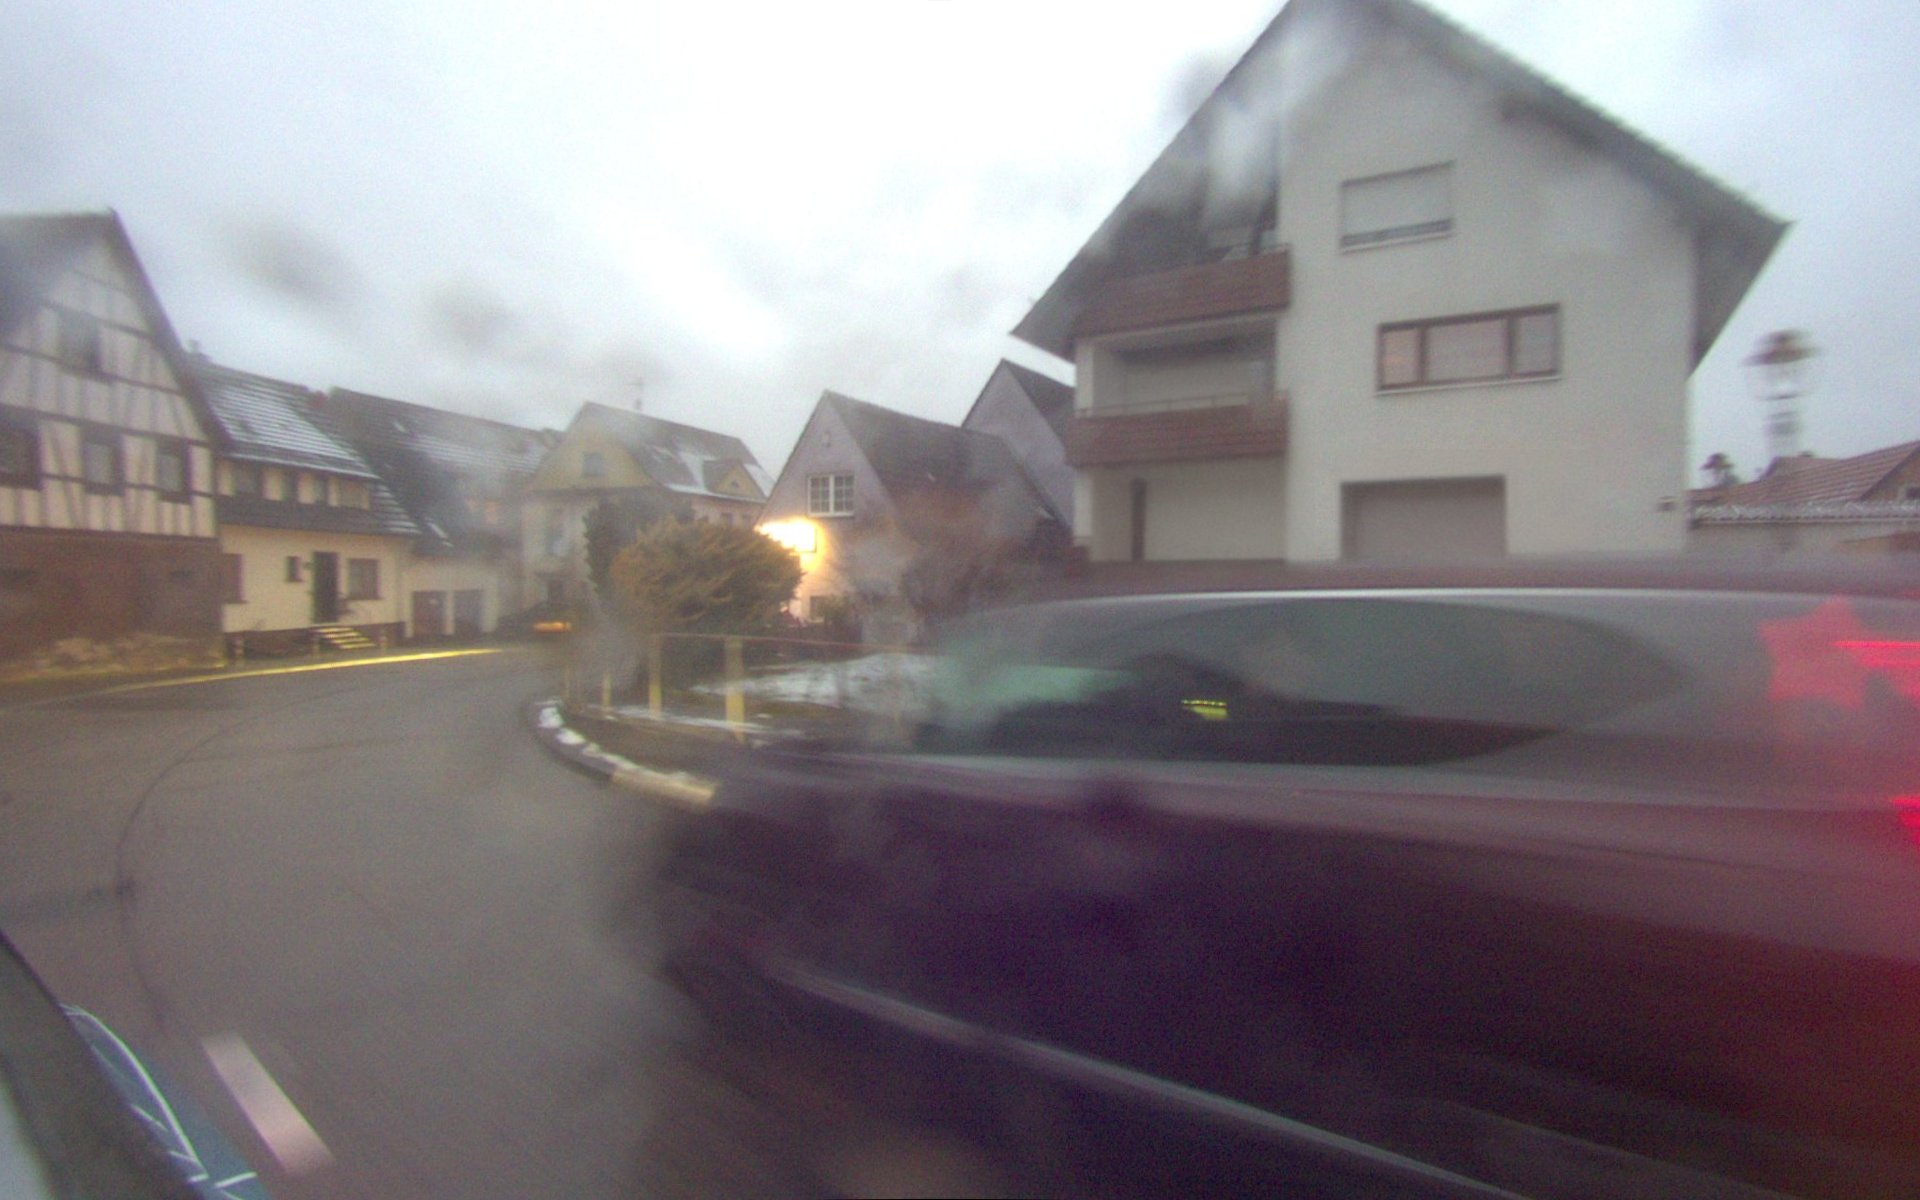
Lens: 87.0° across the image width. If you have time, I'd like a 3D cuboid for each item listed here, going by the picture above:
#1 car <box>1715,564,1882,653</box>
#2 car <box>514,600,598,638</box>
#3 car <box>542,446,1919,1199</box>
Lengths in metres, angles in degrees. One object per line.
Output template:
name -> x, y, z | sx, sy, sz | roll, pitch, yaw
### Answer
car -> 15.685, 0.120, 19.154 | 1.814, 1.497, 3.958 | -1, 0, 31
car -> -18.284, 0.829, 45.837 | 3.474, 1.517, 1.634 | 3, 1, 27
car -> 0.799, 0.642, 3.032 | 4.598, 1.625, 1.858 | -2, -2, 39
